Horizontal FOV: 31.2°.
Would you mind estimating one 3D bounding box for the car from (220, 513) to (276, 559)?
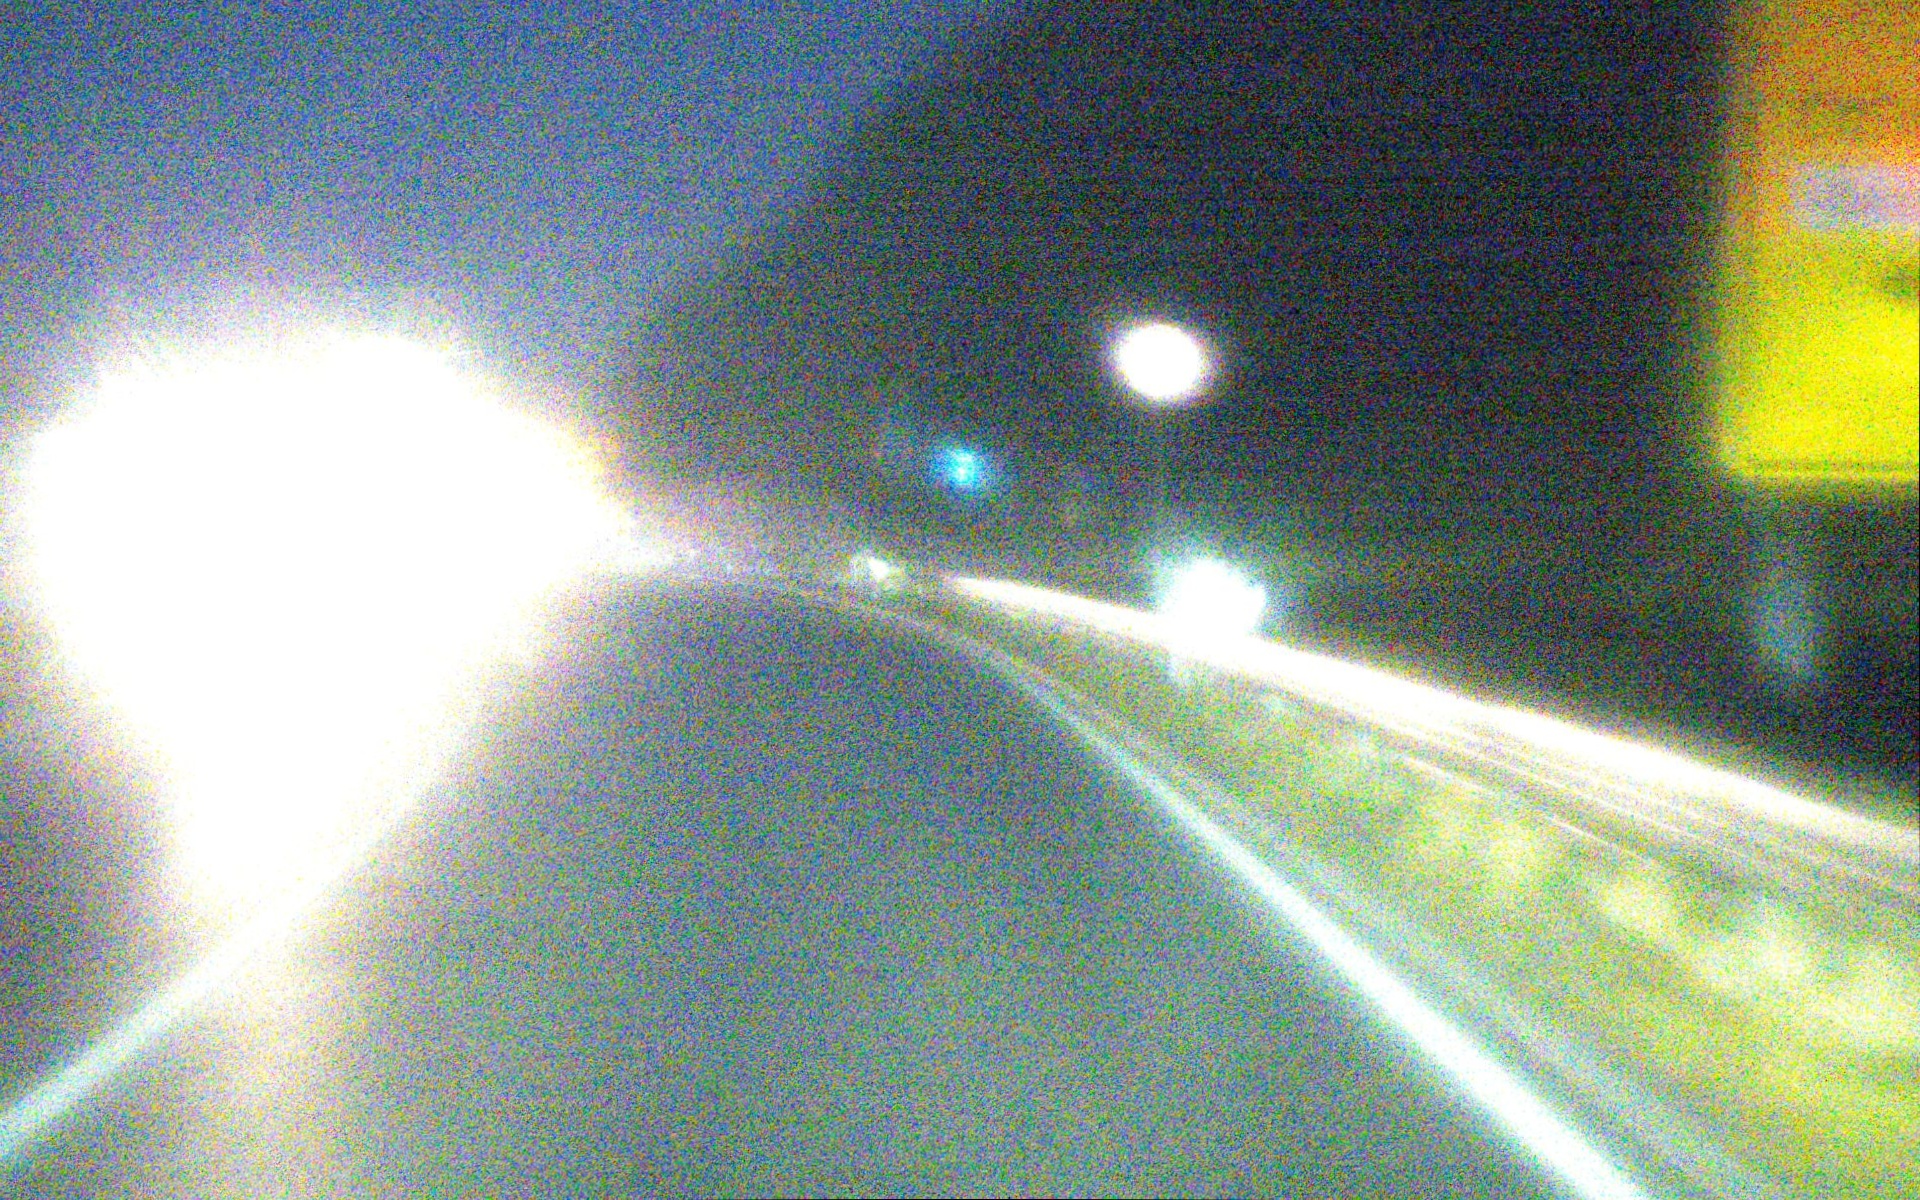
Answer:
[{"bbox_3d":[-24.860,-2.228,120.020,1.880,1.595,3.901,0,1,-12],"label":"car"}]
